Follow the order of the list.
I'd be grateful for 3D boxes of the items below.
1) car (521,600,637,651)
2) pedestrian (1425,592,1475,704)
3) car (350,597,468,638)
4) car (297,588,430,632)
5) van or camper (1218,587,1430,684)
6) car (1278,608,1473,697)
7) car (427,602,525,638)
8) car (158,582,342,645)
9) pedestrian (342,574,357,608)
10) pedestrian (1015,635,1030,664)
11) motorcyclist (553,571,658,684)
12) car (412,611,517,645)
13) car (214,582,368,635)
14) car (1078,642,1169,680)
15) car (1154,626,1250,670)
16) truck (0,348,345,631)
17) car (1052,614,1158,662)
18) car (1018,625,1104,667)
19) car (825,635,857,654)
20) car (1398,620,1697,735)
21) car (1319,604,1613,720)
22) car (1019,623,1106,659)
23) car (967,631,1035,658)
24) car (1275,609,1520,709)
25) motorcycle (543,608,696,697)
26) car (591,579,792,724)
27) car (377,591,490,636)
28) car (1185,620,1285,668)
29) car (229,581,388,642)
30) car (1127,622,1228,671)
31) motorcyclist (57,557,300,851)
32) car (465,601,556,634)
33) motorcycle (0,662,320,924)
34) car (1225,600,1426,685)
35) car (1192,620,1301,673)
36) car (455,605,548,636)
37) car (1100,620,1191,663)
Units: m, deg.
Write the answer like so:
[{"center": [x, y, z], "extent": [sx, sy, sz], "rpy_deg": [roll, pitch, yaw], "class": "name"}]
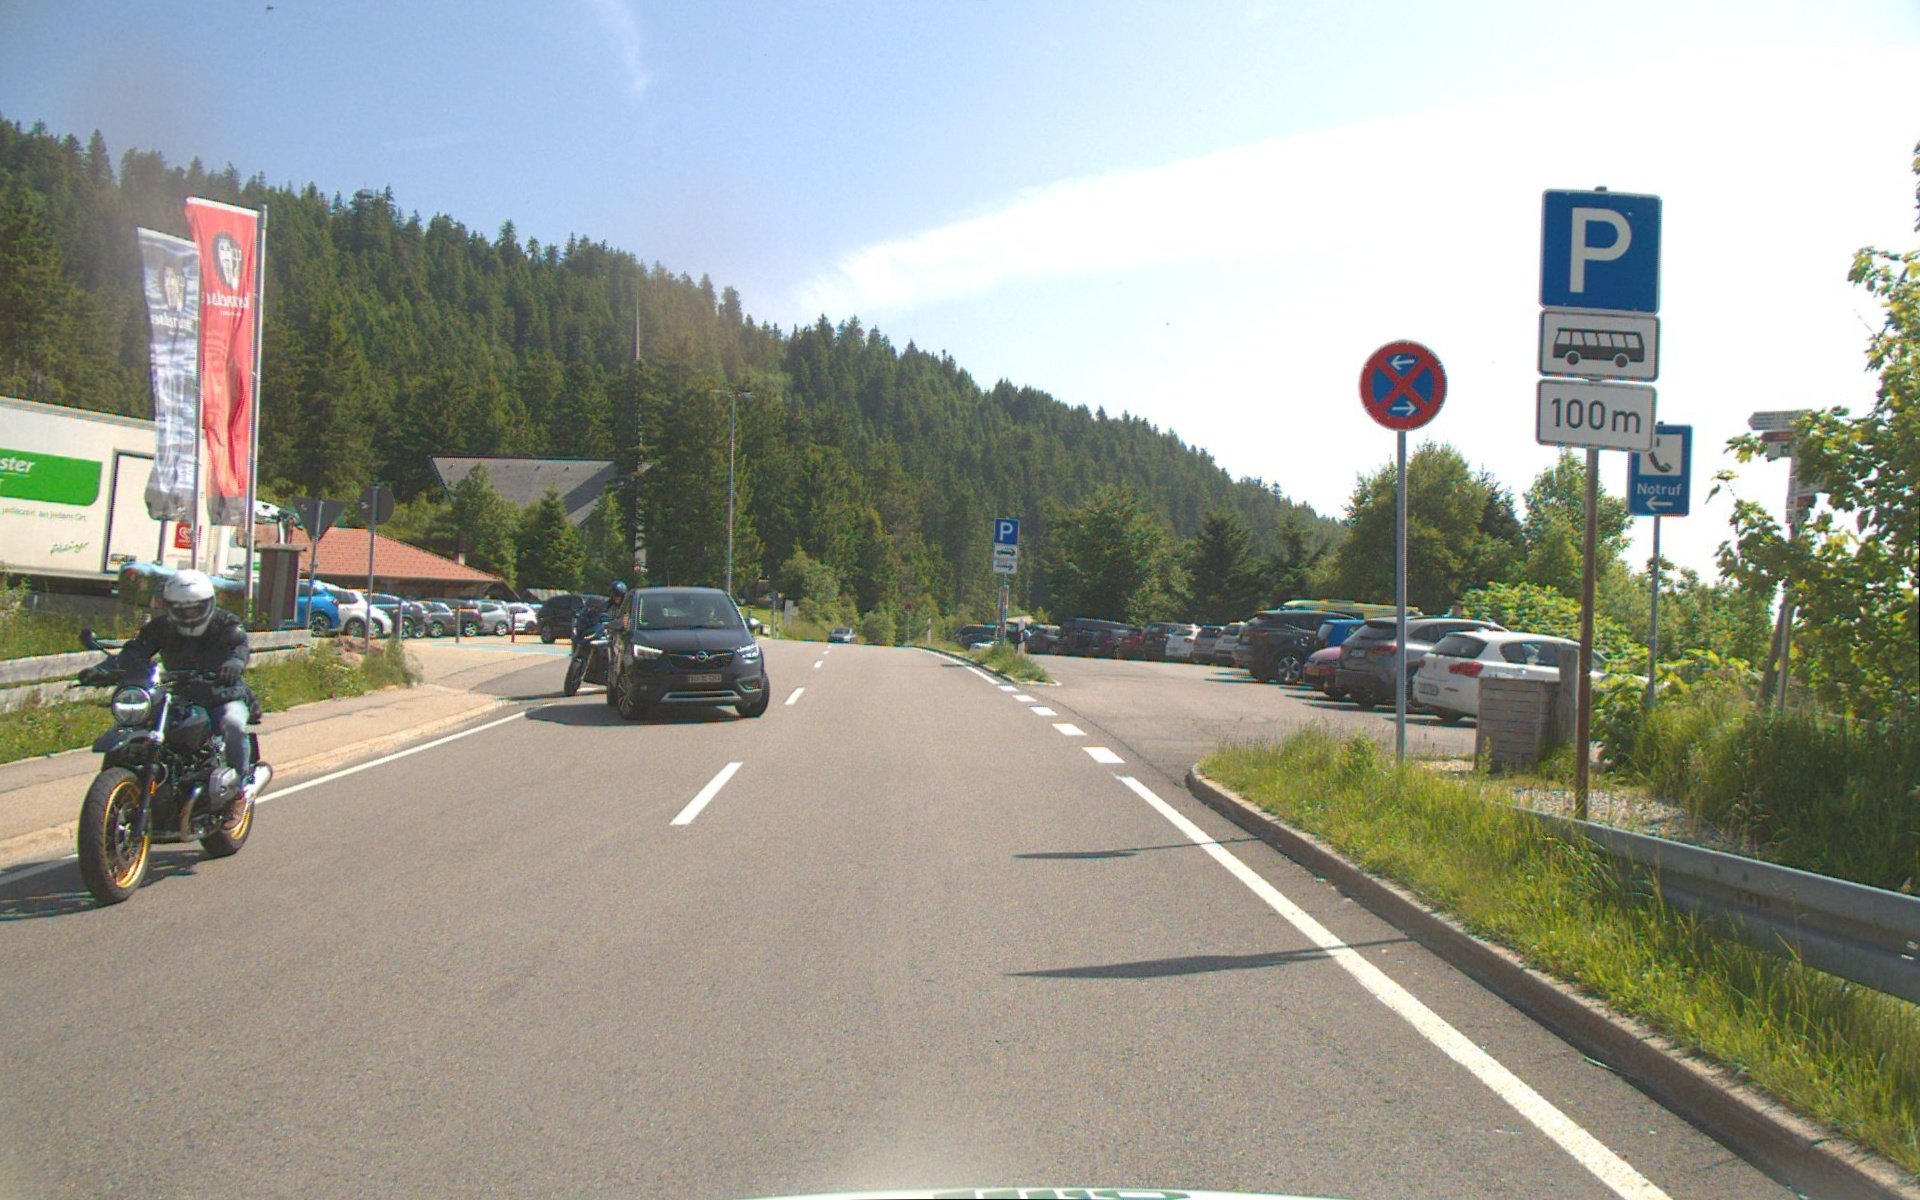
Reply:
[{"center": [-12.427, 0.807, 53.828], "extent": [4.123, 1.567, 1.795], "rpy_deg": [1, 0, 45], "class": "car"}, {"center": [8.726, 0.847, 29.447], "extent": [0.596, 1.933, 0.679], "rpy_deg": [4, -1, 3], "class": "pedestrian"}, {"center": [-21.310, 0.694, 64.047], "extent": [1.685, 1.512, 4.056], "rpy_deg": [1, 0, 41], "class": "car"}, {"center": [-20.707, 0.371, 57.506], "extent": [1.879, 1.455, 3.978], "rpy_deg": [1, 0, 40], "class": "car"}, {"center": [9.402, 0.903, 43.005], "extent": [4.987, 2.048, 1.882], "rpy_deg": [5, 0, 0], "class": "van or camper"}, {"center": [8.582, 1.062, 34.337], "extent": [3.510, 1.521, 1.647], "rpy_deg": [4, 0, -3], "class": "car"}, {"center": [-22.294, 0.927, 76.274], "extent": [1.866, 1.572, 3.975], "rpy_deg": [1, 0, 42], "class": "car"}, {"center": [-20.610, 0.406, 48.170], "extent": [1.904, 1.693, 4.519], "rpy_deg": [1, -1, 41], "class": "car"}, {"center": [-35.476, -0.526, 96.108], "extent": [0.537, 1.907, 0.525], "rpy_deg": [0, -3, 40], "class": "pedestrian"}, {"center": [3.211, 2.535, 84.919], "extent": [0.757, 1.427, 0.669], "rpy_deg": [1, 0, 3], "class": "pedestrian"}, {"center": [-5.391, 0.407, 25.177], "extent": [0.865, 1.670, 1.293], "rpy_deg": [0, 0, 40], "class": "motorcyclist"}, {"center": [-21.203, 1.190, 70.874], "extent": [3.966, 1.395, 1.785], "rpy_deg": [1, 0, -42], "class": "car"}, {"center": [-20.746, 0.283, 51.360], "extent": [1.965, 1.573, 3.974], "rpy_deg": [1, 0, 43], "class": "car"}, {"center": [7.647, 2.853, 77.411], "extent": [3.947, 1.439, 1.726], "rpy_deg": [6, -2, -31], "class": "car"}, {"center": [10.166, 2.033, 69.338], "extent": [3.964, 1.502, 1.741], "rpy_deg": [6, -3, -41], "class": "car"}, {"center": [-14.993, -1.791, 27.281], "extent": [3.008, 4.041, 8.742], "rpy_deg": [4, -1, 34], "class": "truck"}, {"center": [7.030, 1.864, 80.350], "extent": [4.693, 1.912, 1.953], "rpy_deg": [5, -2, -23], "class": "car"}, {"center": [5.279, 2.424, 86.606], "extent": [3.946, 1.690, 1.980], "rpy_deg": [8, -4, -30], "class": "car"}, {"center": [-9.338, 3.492, 130.004], "extent": [1.546, 1.454, 3.374], "rpy_deg": [1, 0, 14], "class": "car"}, {"center": [8.790, 1.148, 24.829], "extent": [3.919, 1.409, 1.651], "rpy_deg": [4, -1, -13], "class": "car"}, {"center": [8.466, 1.027, 27.785], "extent": [4.323, 1.595, 1.901], "rpy_deg": [4, 0, -14], "class": "car"}, {"center": [5.192, 2.049, 83.561], "extent": [3.936, 1.468, 1.825], "rpy_deg": [6, -2, -25], "class": "car"}, {"center": [2.850, 3.119, 115.514], "extent": [4.389, 1.321, 1.573], "rpy_deg": [8, -2, -20], "class": "car"}, {"center": [8.046, 1.074, 30.555], "extent": [3.918, 1.536, 1.836], "rpy_deg": [4, 0, -13], "class": "car"}, {"center": [-5.211, 0.781, 25.466], "extent": [0.798, 1.287, 2.315], "rpy_deg": [0, 0, 39], "class": "motorcycle"}, {"center": [-3.584, 0.592, 21.494], "extent": [1.949, 1.645, 4.128], "rpy_deg": [-1, 0, -18], "class": "car"}, {"center": [-21.333, 0.552, 67.114], "extent": [3.969, 1.734, 1.797], "rpy_deg": [1, 0, -44], "class": "car"}, {"center": [11.020, 1.788, 66.244], "extent": [3.964, 1.576, 1.793], "rpy_deg": [6, -3, -41], "class": "car"}, {"center": [-21.182, 0.388, 53.890], "extent": [1.804, 1.896, 4.500], "rpy_deg": [1, 0, 43], "class": "car"}, {"center": [9.439, 2.014, 71.516], "extent": [4.235, 1.724, 1.961], "rpy_deg": [6, -3, -41], "class": "car"}, {"center": [-4.134, 0.527, 8.823], "extent": [0.822, 1.466, 1.005], "rpy_deg": [-1, -1, -1], "class": "motorcyclist"}, {"center": [-22.475, 0.879, 82.743], "extent": [1.964, 1.601, 3.977], "rpy_deg": [0, -1, 41], "class": "car"}, {"center": [-4.152, 0.917, 8.606], "extent": [0.822, 1.115, 2.182], "rpy_deg": [-1, -1, -1], "class": "motorcycle"}, {"center": [8.115, 0.929, 36.909], "extent": [3.913, 1.641, 1.913], "rpy_deg": [3, -1, -9], "class": "car"}, {"center": [10.961, 1.800, 63.124], "extent": [4.189, 1.724, 1.836], "rpy_deg": [5, -2, -41], "class": "car"}, {"center": [-22.034, 0.969, 79.616], "extent": [1.873, 1.445, 3.977], "rpy_deg": [0, -1, 41], "class": "car"}, {"center": [8.448, 1.889, 75.134], "extent": [3.964, 1.617, 1.836], "rpy_deg": [6, -3, -41], "class": "car"}]
